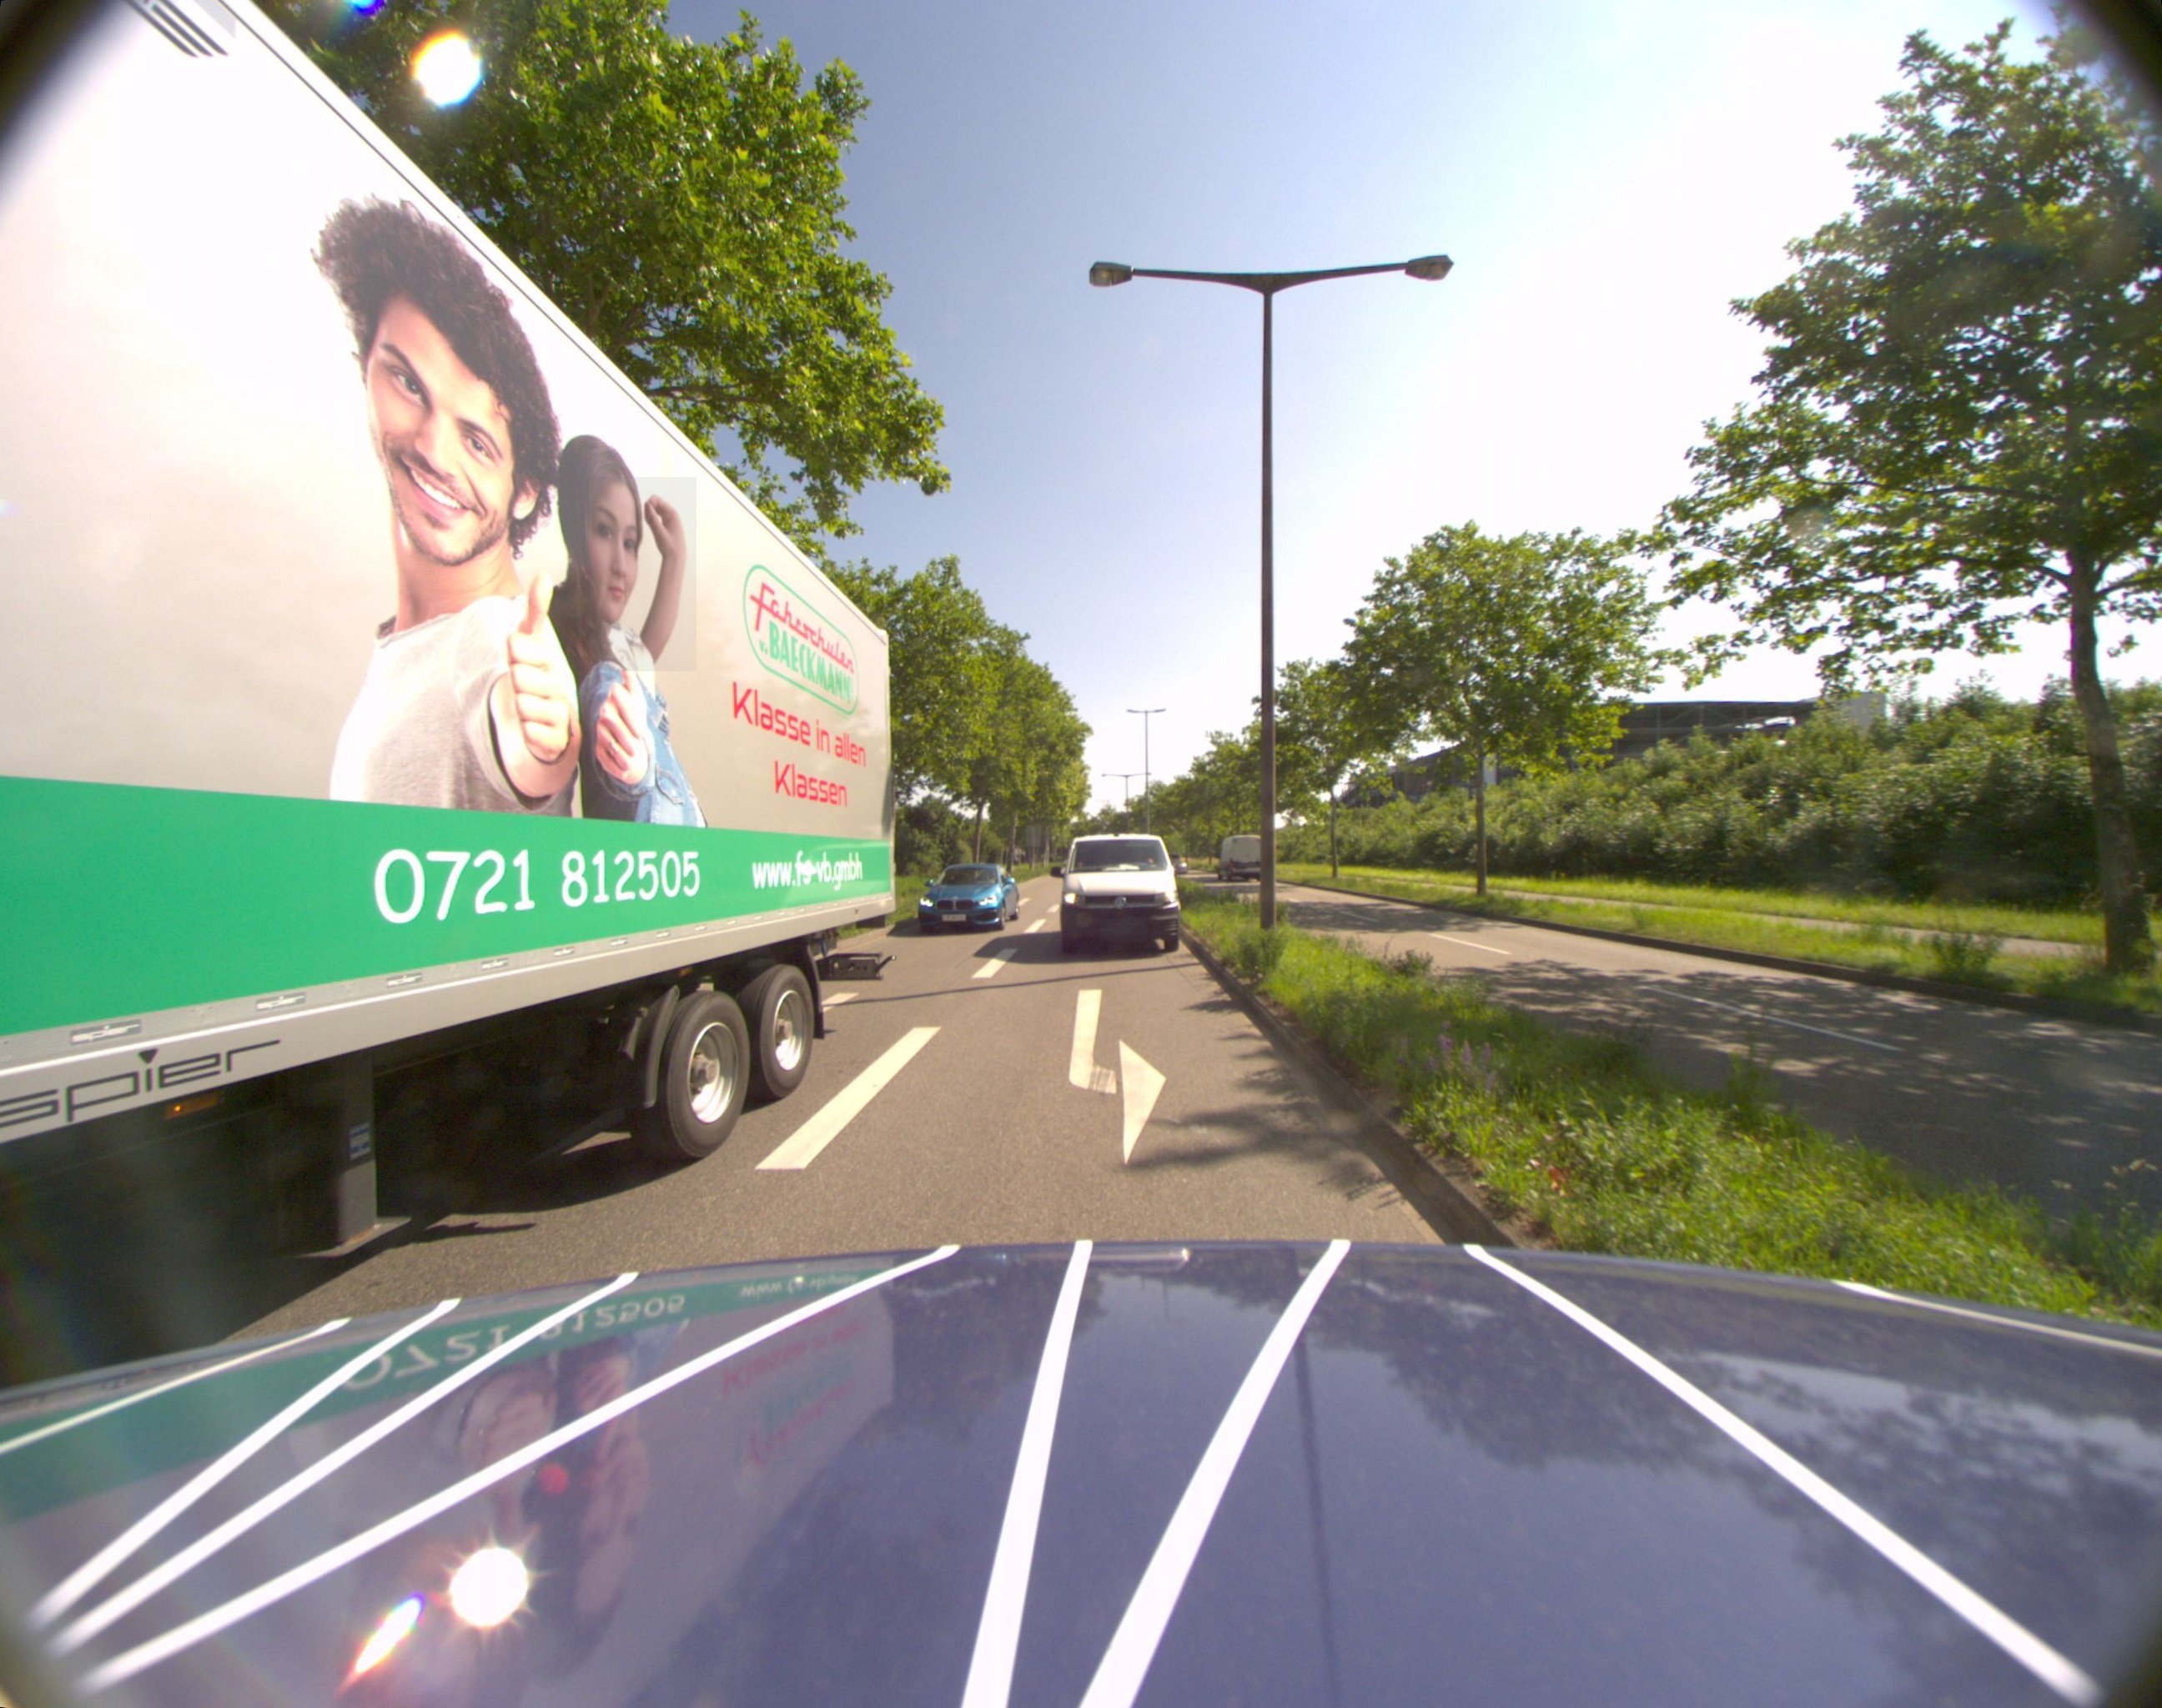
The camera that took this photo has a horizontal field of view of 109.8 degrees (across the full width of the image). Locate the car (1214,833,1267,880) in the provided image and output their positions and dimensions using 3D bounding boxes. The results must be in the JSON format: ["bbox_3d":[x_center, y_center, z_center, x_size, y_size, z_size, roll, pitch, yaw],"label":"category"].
[{"bbox_3d":[9.516,0.128,45.681,1.998,2.647,5.786,1,0,1],"label":"car"}]

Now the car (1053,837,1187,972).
[{"bbox_3d":[0.579,0.700,13.166,1.872,1.889,4.881,0,0,1],"label":"car"}]

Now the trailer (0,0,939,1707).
[{"bbox_3d":[-2.987,-0.331,3.697,2.743,3.854,7.736,-1,1,3],"label":"trailer"}]

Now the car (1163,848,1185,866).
[{"bbox_3d":[10.575,0.335,86.567,1.998,1.887,4.574,1,0,0],"label":"car"}]

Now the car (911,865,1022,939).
[{"bbox_3d":[-2.493,1.017,17.567,1.872,1.412,4.130,0,0,1],"label":"car"}]
